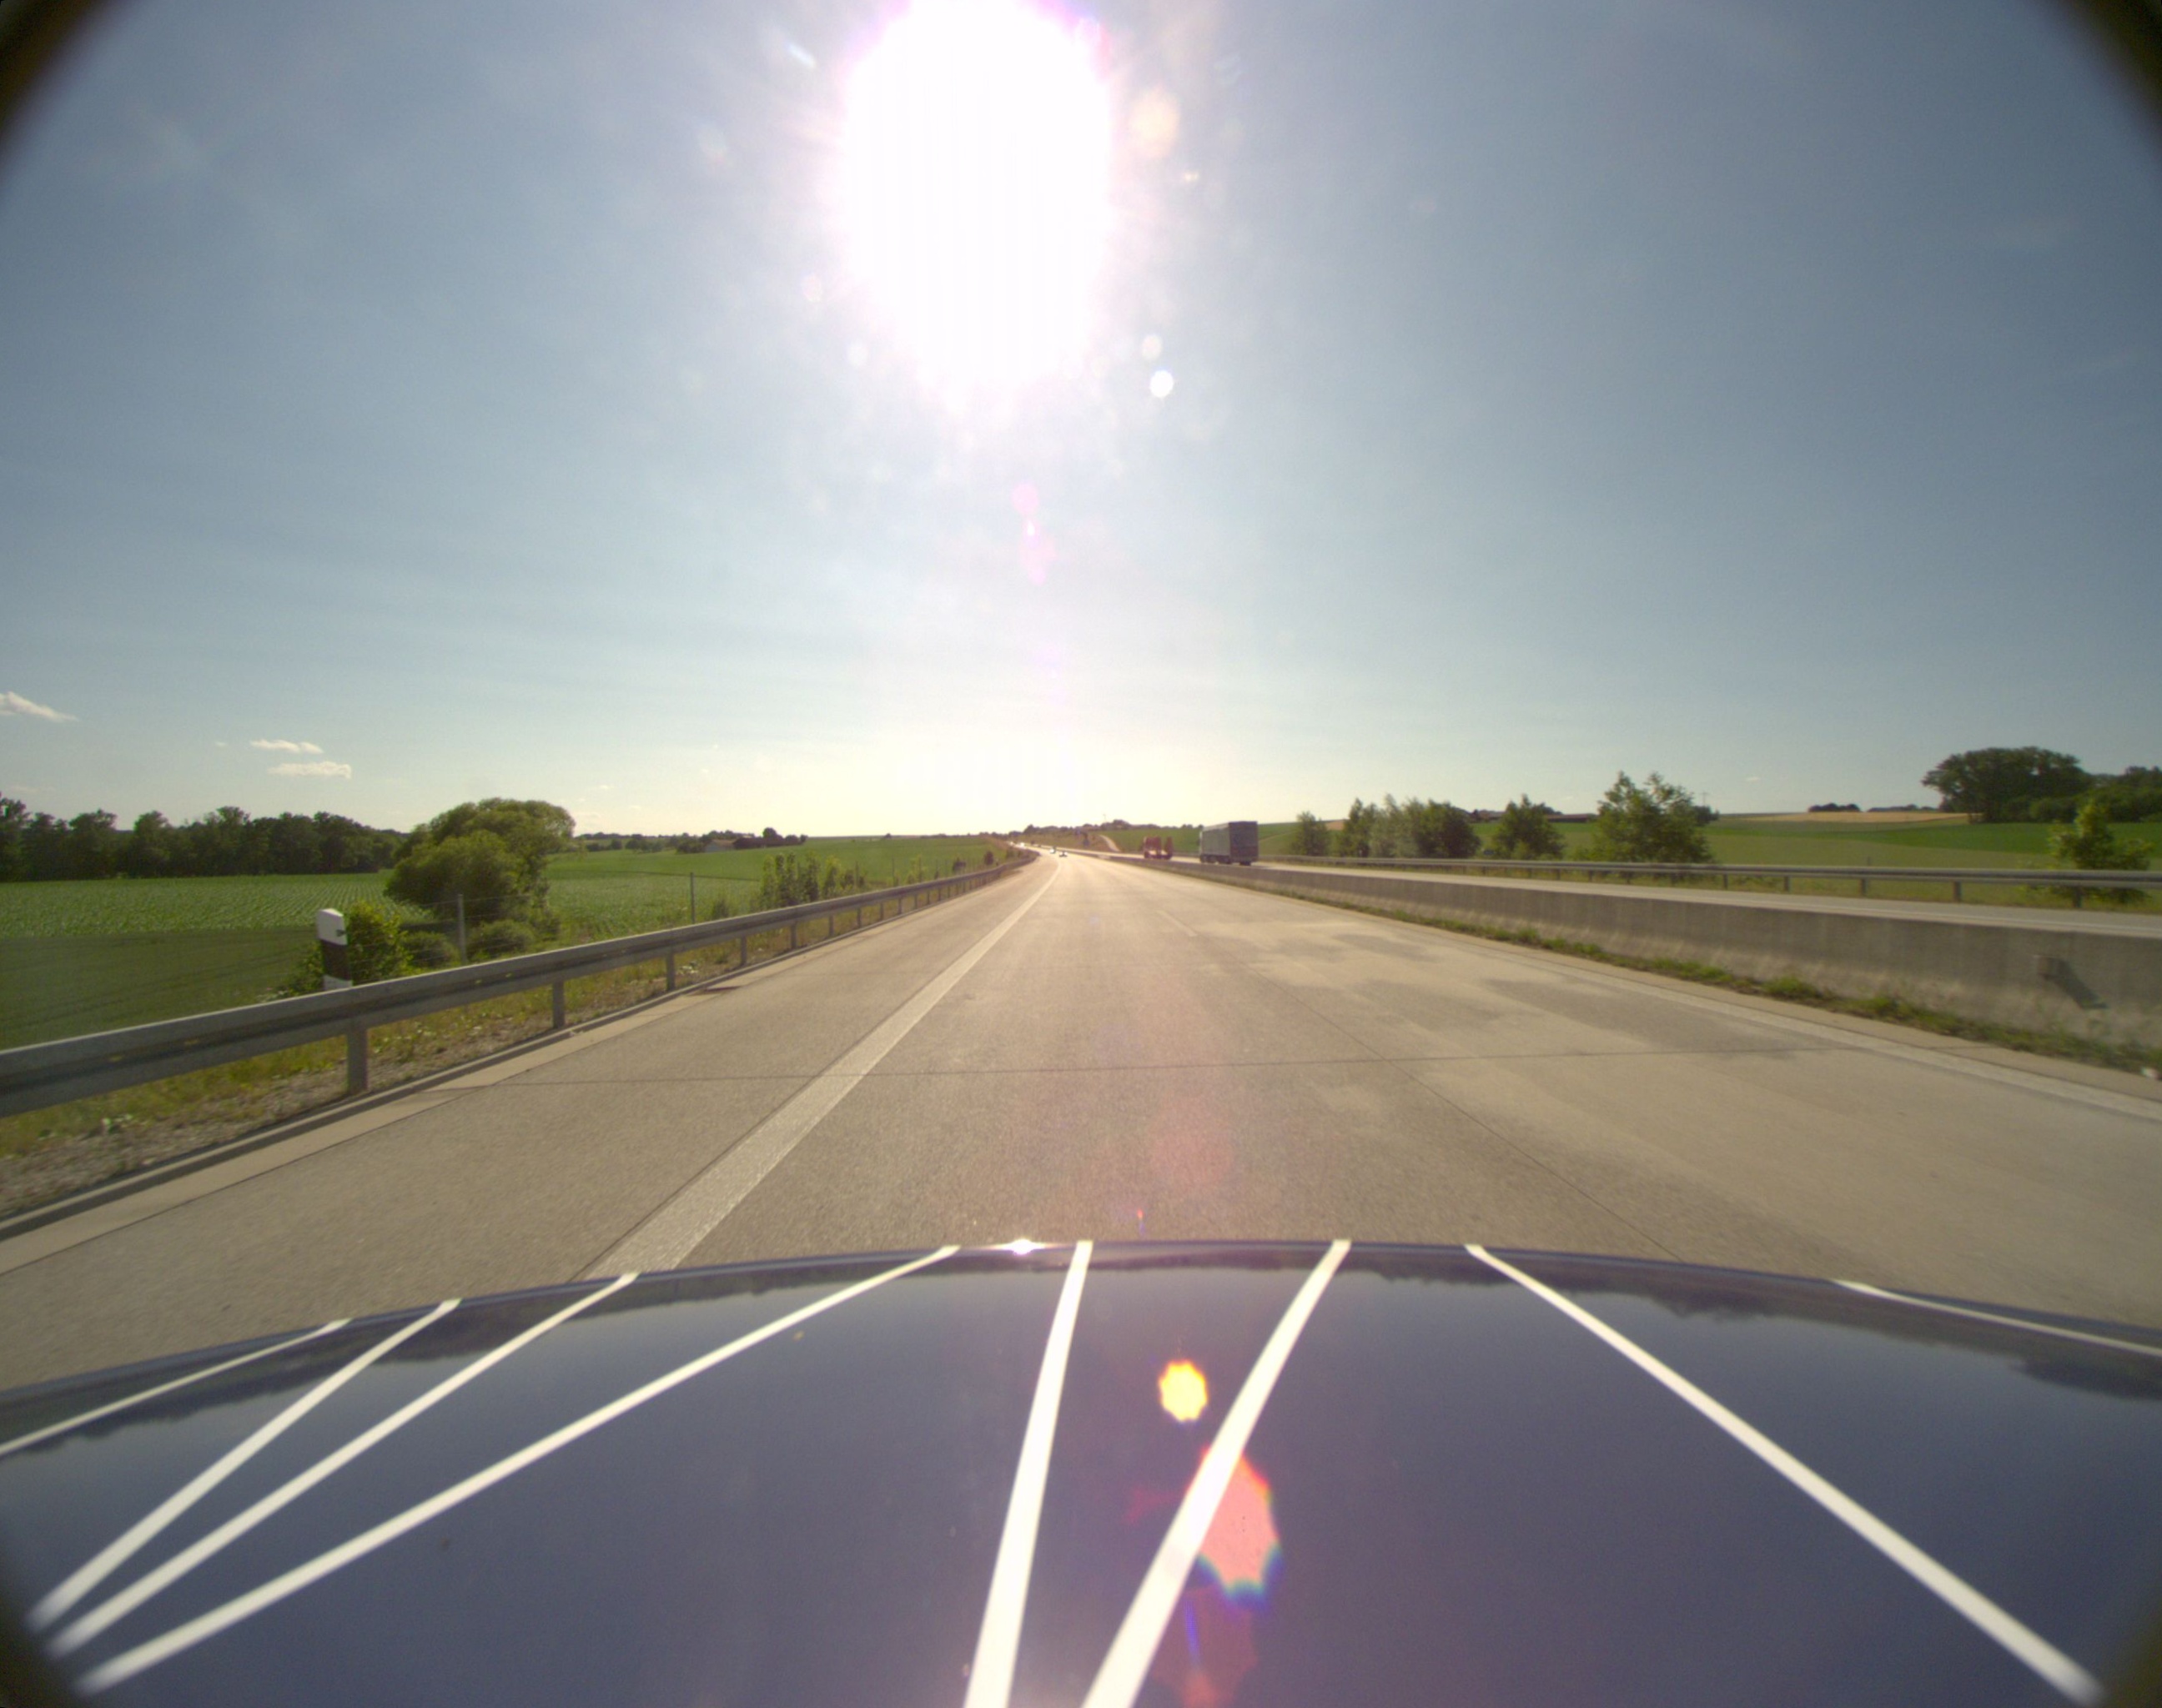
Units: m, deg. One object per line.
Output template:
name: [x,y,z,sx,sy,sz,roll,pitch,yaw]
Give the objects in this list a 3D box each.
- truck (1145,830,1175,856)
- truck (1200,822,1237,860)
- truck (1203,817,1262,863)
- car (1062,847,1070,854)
truck: [13.124,-1.850,127.277,2.875,3.992,17.110,-1,1,-1]
truck: [14.475,-1.337,80.351,2.868,3.851,5.982,-1,1,0]
truck: [14.476,-1.326,74.019,2.867,3.985,13.865,-1,1,0]
car: [-3.641,-0.801,186.908,1.715,1.580,4.626,-2,1,0]
